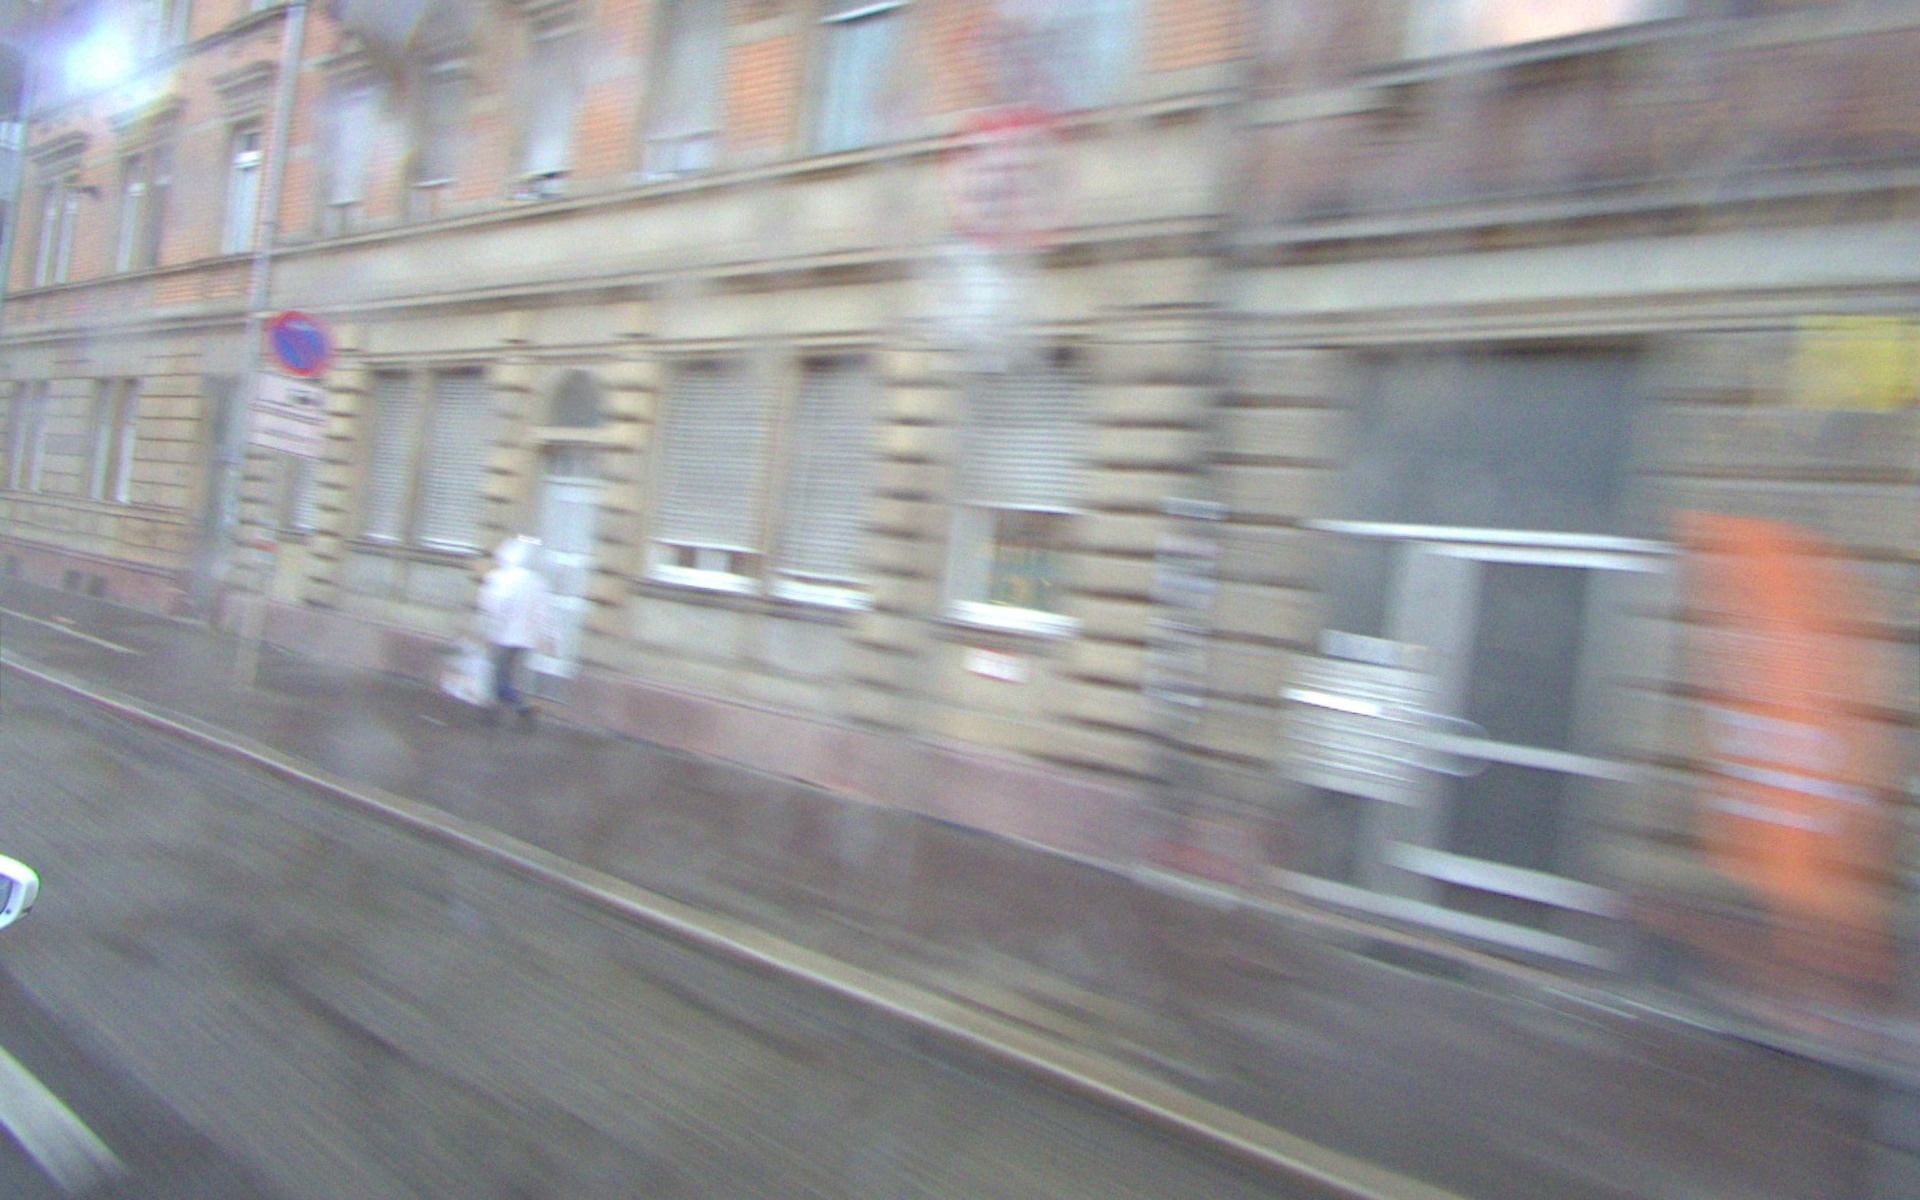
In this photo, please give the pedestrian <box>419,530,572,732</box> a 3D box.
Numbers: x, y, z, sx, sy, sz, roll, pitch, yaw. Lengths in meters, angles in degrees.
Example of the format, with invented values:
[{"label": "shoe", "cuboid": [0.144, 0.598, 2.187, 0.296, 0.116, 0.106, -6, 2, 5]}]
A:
[{"label": "pedestrian", "cuboid": [-4.036, 0.271, 8.760, 0.730, 1.617, 0.787, 7, 0, 33]}]
